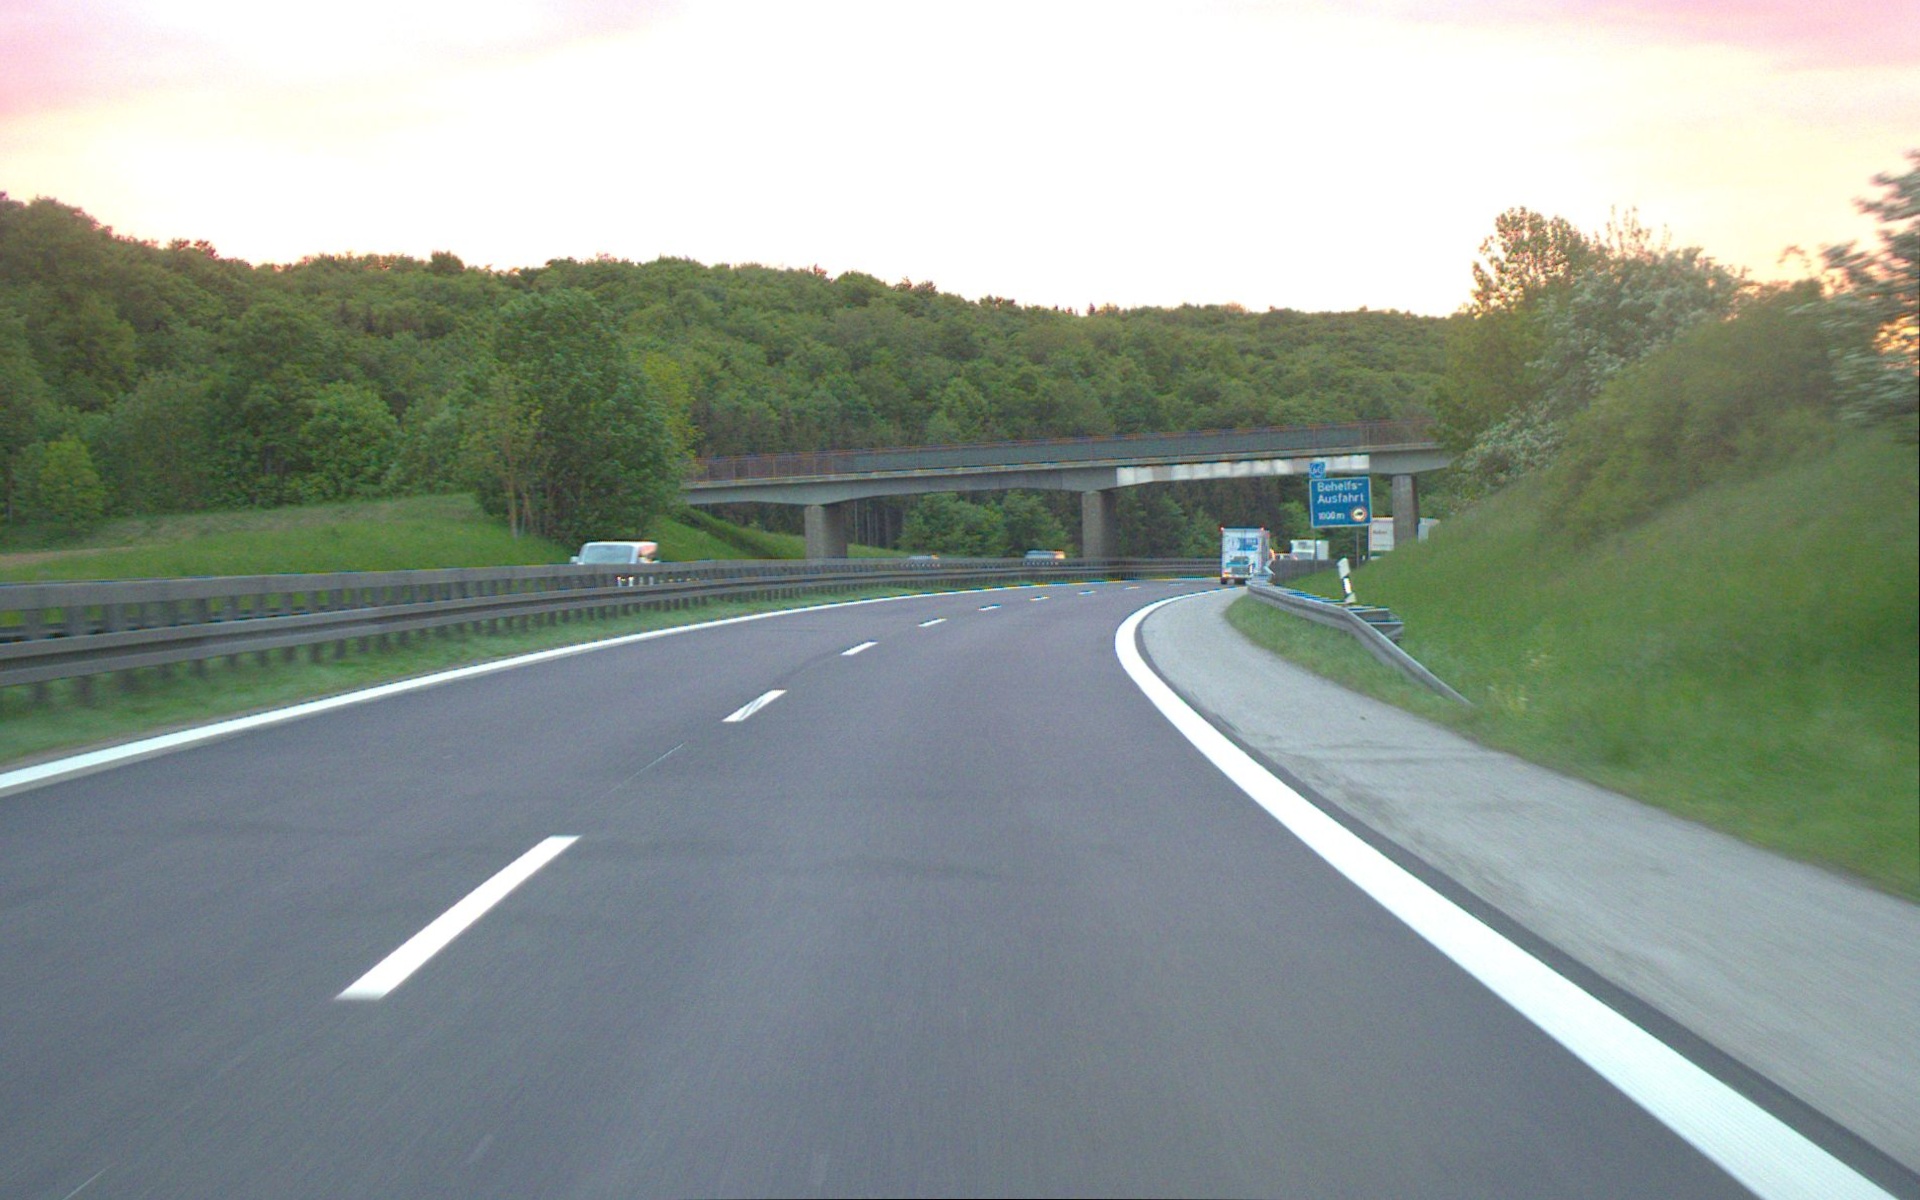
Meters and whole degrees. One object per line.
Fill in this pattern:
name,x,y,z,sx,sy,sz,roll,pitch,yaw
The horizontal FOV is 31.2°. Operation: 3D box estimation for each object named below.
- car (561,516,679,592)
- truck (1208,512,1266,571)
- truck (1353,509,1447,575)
car,-10.432,-1.445,105.847,2.282,2.006,5.257,-6,1,7
truck,13.159,-2.802,163.093,2.277,2.656,5.234,-2,2,9
truck,29.590,-3.898,230.550,3.961,4.272,14.312,-1,1,17
